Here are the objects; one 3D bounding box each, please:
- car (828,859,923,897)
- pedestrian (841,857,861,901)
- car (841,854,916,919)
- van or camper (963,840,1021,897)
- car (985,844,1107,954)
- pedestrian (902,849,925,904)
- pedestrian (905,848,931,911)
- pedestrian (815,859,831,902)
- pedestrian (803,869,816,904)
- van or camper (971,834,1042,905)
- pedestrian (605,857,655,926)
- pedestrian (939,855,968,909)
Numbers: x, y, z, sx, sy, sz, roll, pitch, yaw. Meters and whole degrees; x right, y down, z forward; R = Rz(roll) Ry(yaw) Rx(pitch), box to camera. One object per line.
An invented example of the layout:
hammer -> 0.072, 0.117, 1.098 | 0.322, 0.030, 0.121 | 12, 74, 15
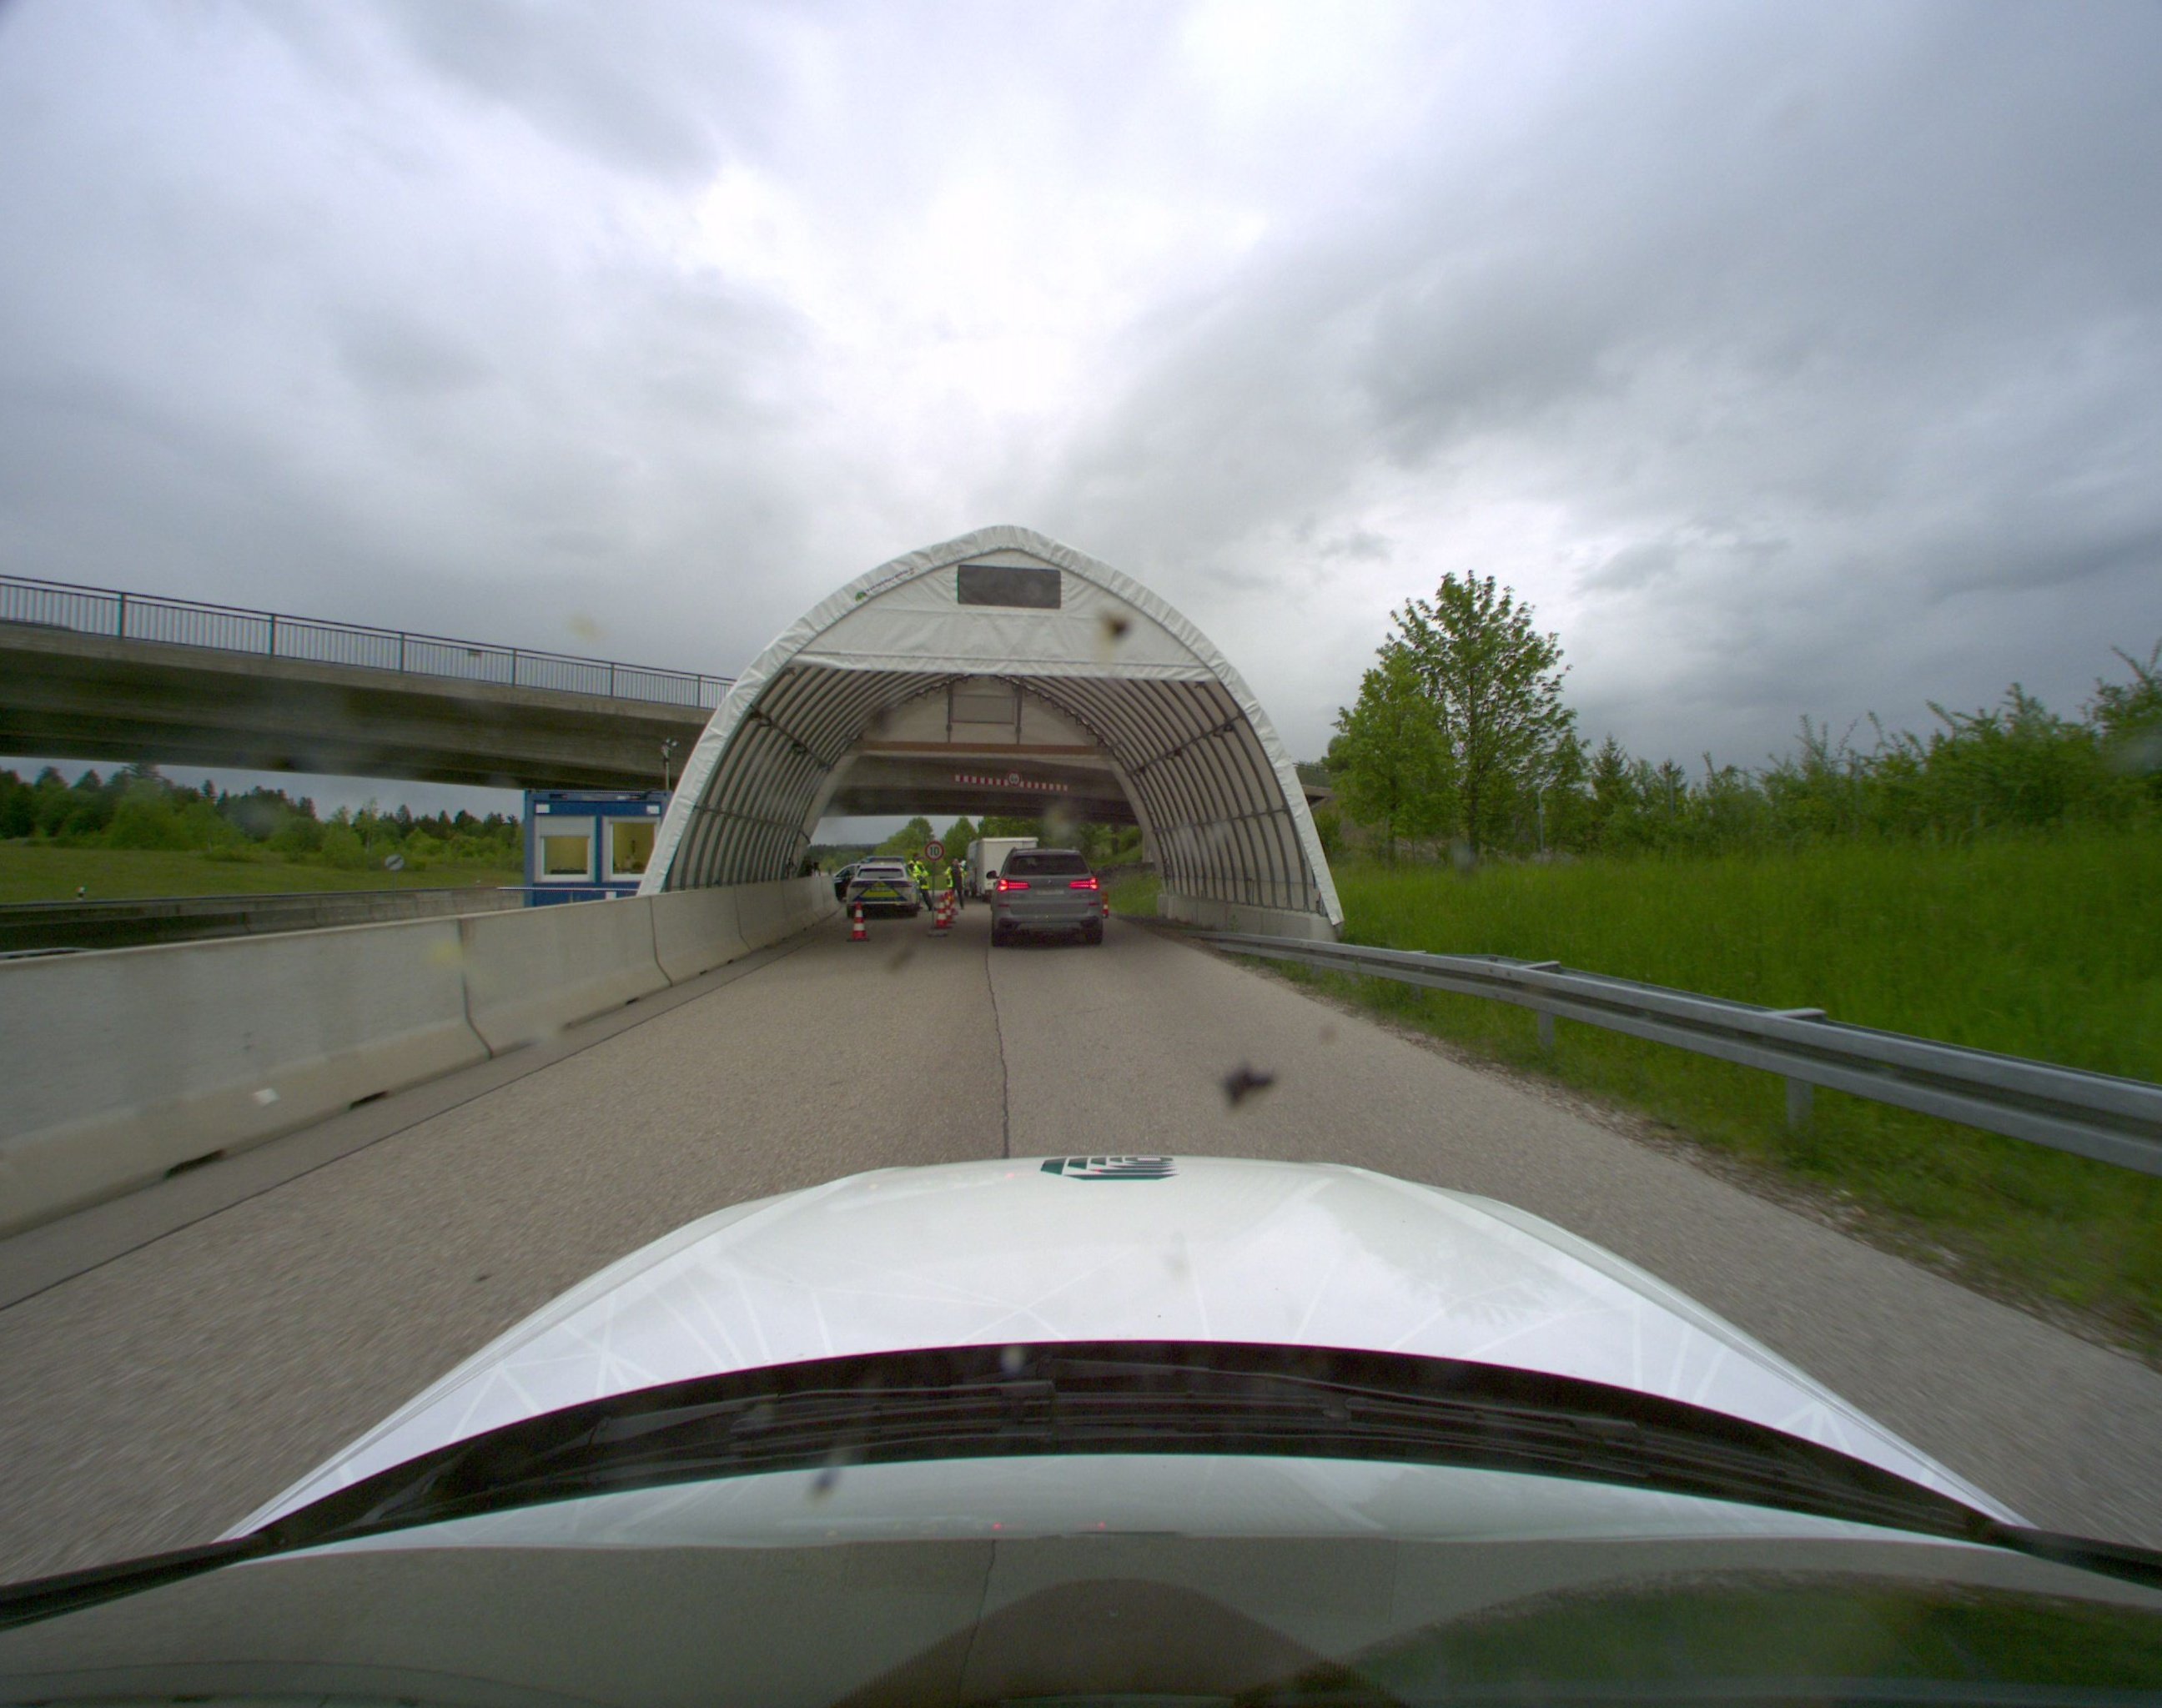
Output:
car -> -11.551, 1.322, 45.927 | 4.776, 2.014, 1.846 | -1, -1, 9
pedestrian -> -10.583, 1.145, 37.464 | 0.698, 2.014, 0.692 | -1, -1, 2
car -> -5.730, 0.881, 23.410 | 1.879, 1.647, 3.983 | -1, -1, -12
van or camper -> -4.407, 0.683, 39.472 | 2.106, 2.519, 5.525 | -1, -1, -14
car -> -0.790, 0.768, 15.593 | 1.991, 1.765, 3.991 | -2, -1, -7
pedestrian -> -5.454, 0.724, 26.592 | 0.607, 1.754, 0.665 | -2, -1, -3
pedestrian -> -5.135, 0.795, 25.670 | 0.749, 1.919, 0.759 | -1, -1, -12
pedestrian -> -12.257, 1.233, 38.668 | 0.625, 2.014, 0.653 | -1, -1, -14
pedestrian -> -12.126, 1.444, 36.352 | 0.503, 1.546, 0.460 | -1, -1, -18
van or camper -> -3.188, 0.613, 33.479 | 2.231, 2.552, 6.586 | -1, -1, -11
pedestrian -> -9.242, 0.753, 16.708 | 0.606, 1.373, 0.629 | -2, -1, 11
pedestrian -> -4.143, 0.899, 26.463 | 0.782, 1.722, 0.752 | -1, -1, -18
